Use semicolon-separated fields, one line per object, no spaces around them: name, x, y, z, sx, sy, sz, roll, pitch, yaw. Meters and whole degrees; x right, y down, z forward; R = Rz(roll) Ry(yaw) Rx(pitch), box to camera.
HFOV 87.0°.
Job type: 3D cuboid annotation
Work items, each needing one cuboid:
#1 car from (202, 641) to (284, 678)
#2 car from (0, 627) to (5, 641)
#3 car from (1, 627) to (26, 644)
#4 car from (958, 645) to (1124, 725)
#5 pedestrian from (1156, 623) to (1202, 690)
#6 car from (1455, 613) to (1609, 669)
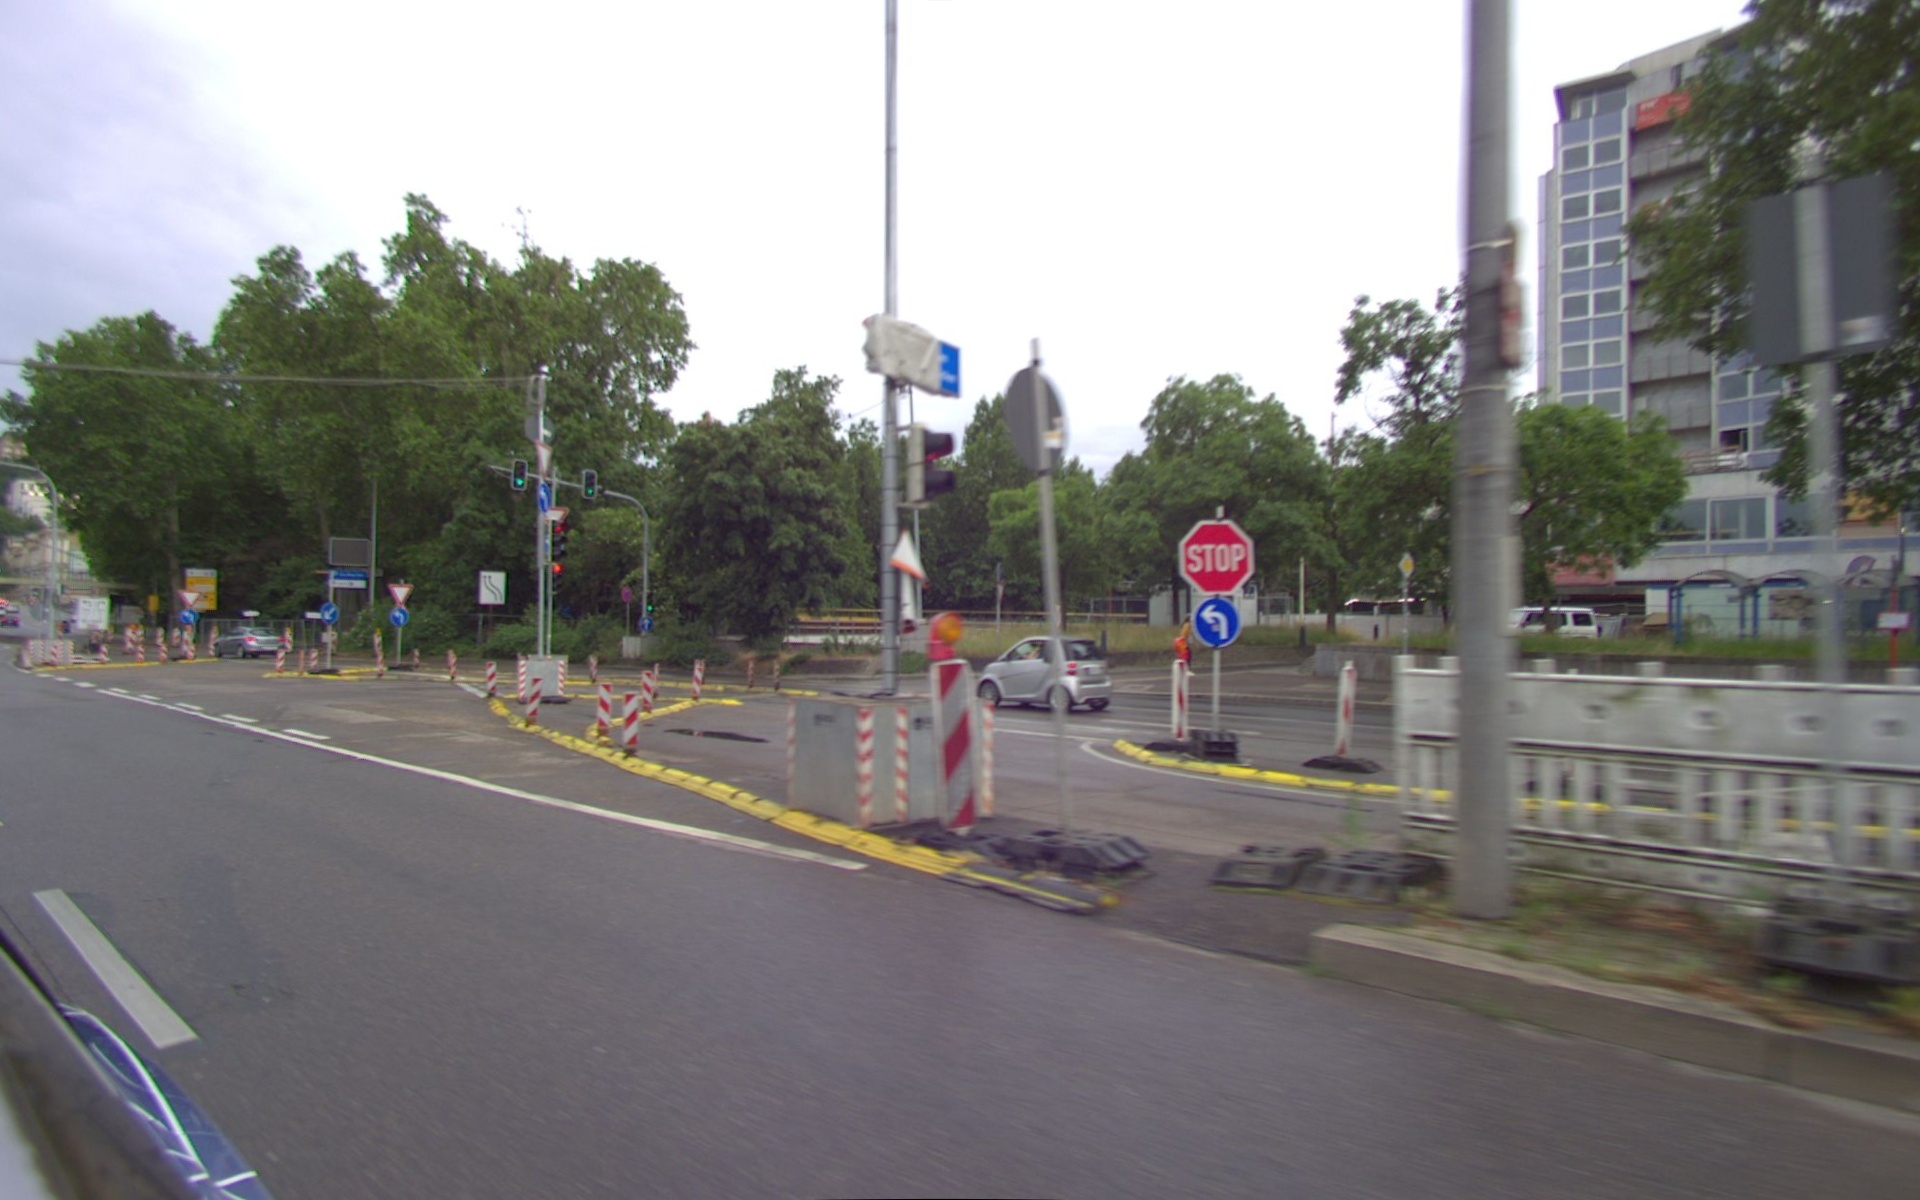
car;-33.684;2.811;47.521;4.143;1.554;1.646;-5;-4;32
car;-143.950;5.041;150.878;3.999;2.029;1.972;-4;-3;42
car;-116.391;4.388;124.416;3.999;2.029;1.972;-4;-3;42
car;1.671;1.733;21.320;3.174;1.554;1.659;-3;-4;45
pedestrian;5.873;1.514;27.184;0.950;1.738;0.551;-7;-5;41
car;22.398;1.619;39.832;4.783;2.029;2.028;-2;-2;11
